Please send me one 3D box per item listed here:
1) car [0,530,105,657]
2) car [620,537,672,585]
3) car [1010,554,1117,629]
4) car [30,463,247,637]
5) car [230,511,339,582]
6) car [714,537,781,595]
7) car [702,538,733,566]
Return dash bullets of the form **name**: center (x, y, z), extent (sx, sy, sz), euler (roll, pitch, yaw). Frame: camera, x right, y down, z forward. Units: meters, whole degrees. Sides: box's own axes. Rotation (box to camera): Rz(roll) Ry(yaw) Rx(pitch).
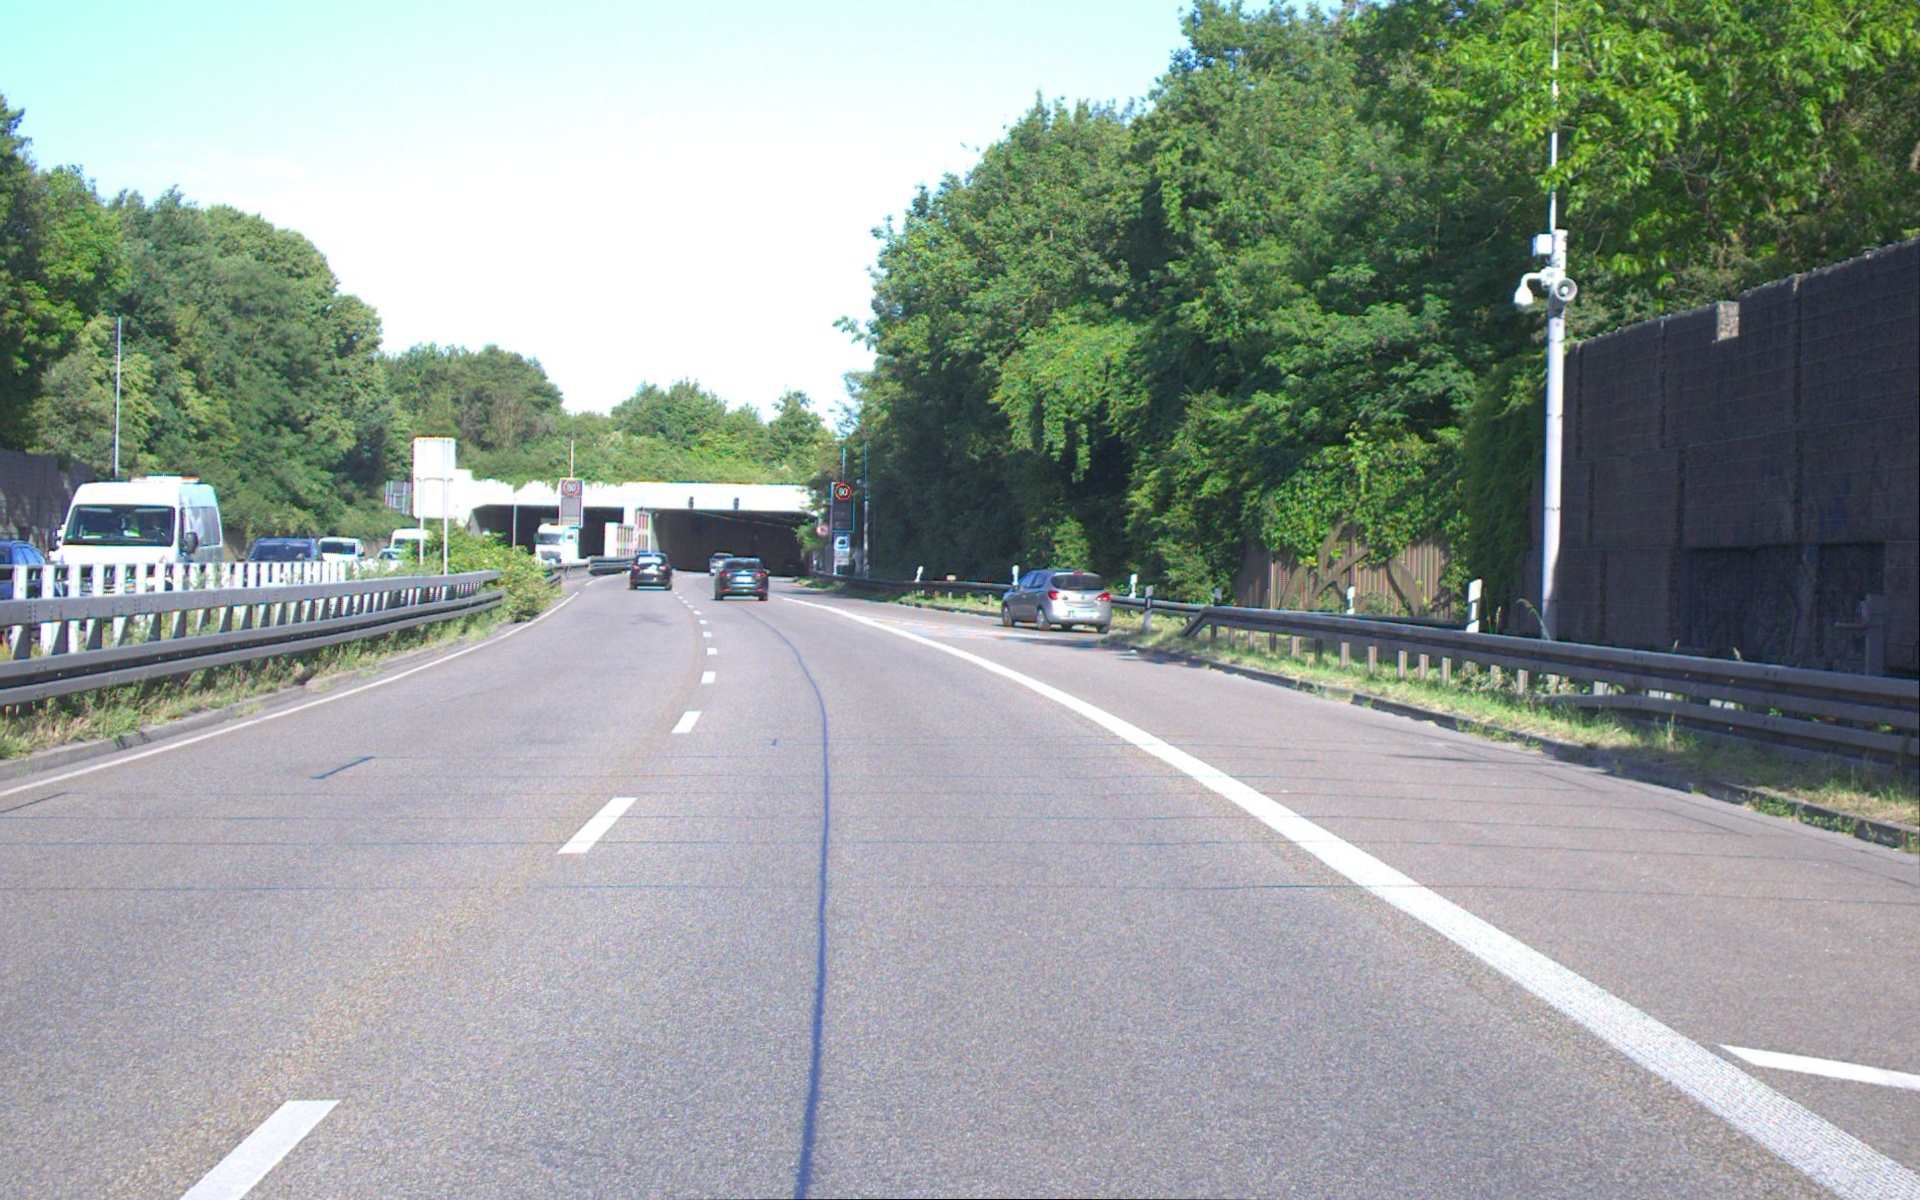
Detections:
- **car**: center (-12.616, -0.145, 44.236), extent (1.993, 1.429, 5.090), euler (3, 1, -1)
- **car**: center (-13.347, -1.654, 145.809), extent (1.993, 1.919, 4.001), euler (2, 1, -7)
- **car**: center (2.419, -0.220, 81.354), extent (1.666, 1.546, 4.001), euler (3, 1, -10)
- **car**: center (-13.828, -0.889, 58.284), extent (2.121, 2.674, 6.589), euler (3, 1, -1)
- **car**: center (-15.787, -1.276, 80.507), extent (1.993, 1.573, 4.248), euler (0, 2, -4)
- **car**: center (-7.411, -1.198, 119.729), extent (1.993, 1.919, 4.001), euler (2, 1, -7)
- **car**: center (-17.284, -3.409, 245.023), extent (1.993, 1.919, 4.001), euler (2, 1, -6)
